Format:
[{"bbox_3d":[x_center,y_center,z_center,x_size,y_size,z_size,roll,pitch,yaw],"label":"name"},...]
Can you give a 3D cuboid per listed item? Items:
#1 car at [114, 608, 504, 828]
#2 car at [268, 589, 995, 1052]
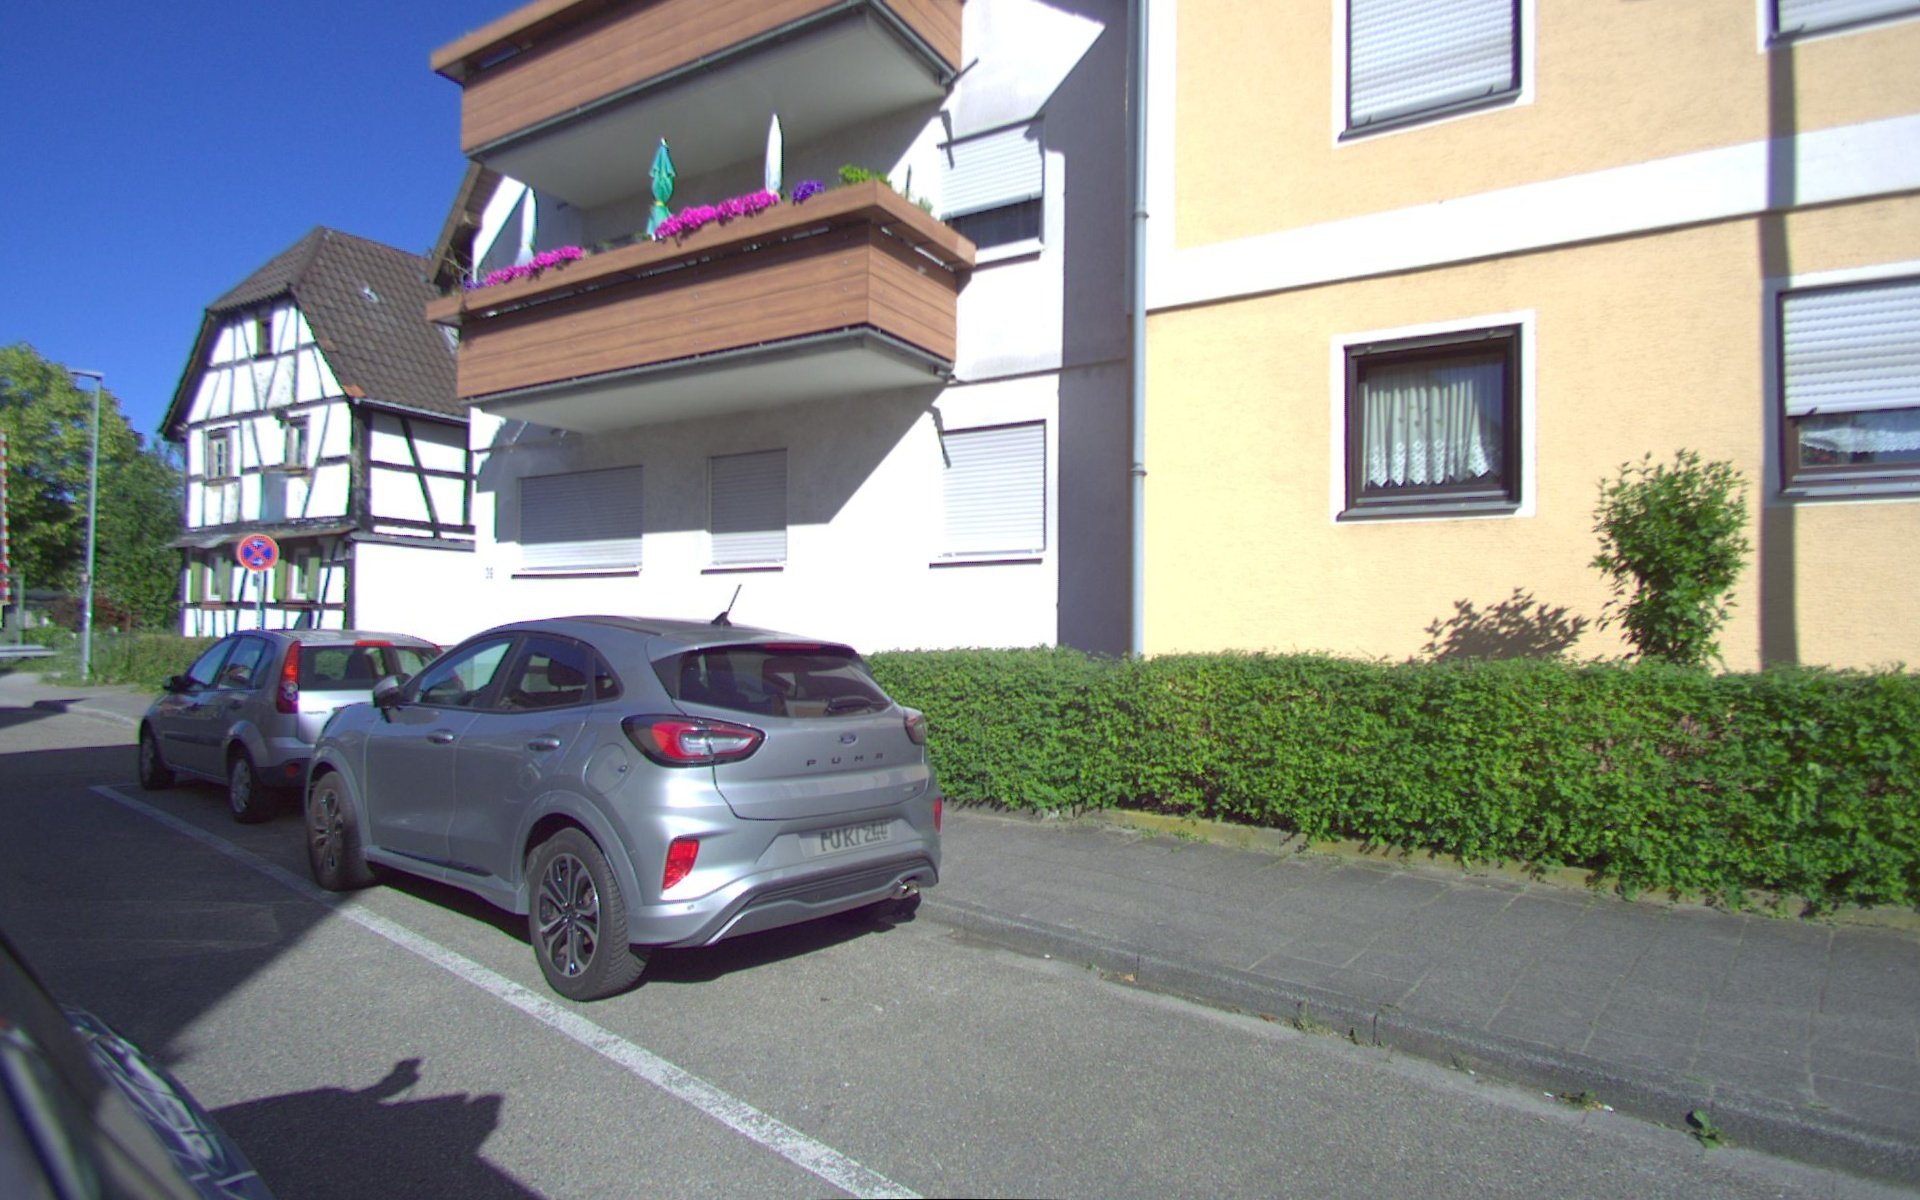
[{"bbox_3d":[-5.773,0.915,8.823,3.848,1.517,1.615,-2,-6,38],"label":"car"},{"bbox_3d":[-1.942,0.798,5.296,4.090,1.517,1.657,-1,-4,39],"label":"car"}]
